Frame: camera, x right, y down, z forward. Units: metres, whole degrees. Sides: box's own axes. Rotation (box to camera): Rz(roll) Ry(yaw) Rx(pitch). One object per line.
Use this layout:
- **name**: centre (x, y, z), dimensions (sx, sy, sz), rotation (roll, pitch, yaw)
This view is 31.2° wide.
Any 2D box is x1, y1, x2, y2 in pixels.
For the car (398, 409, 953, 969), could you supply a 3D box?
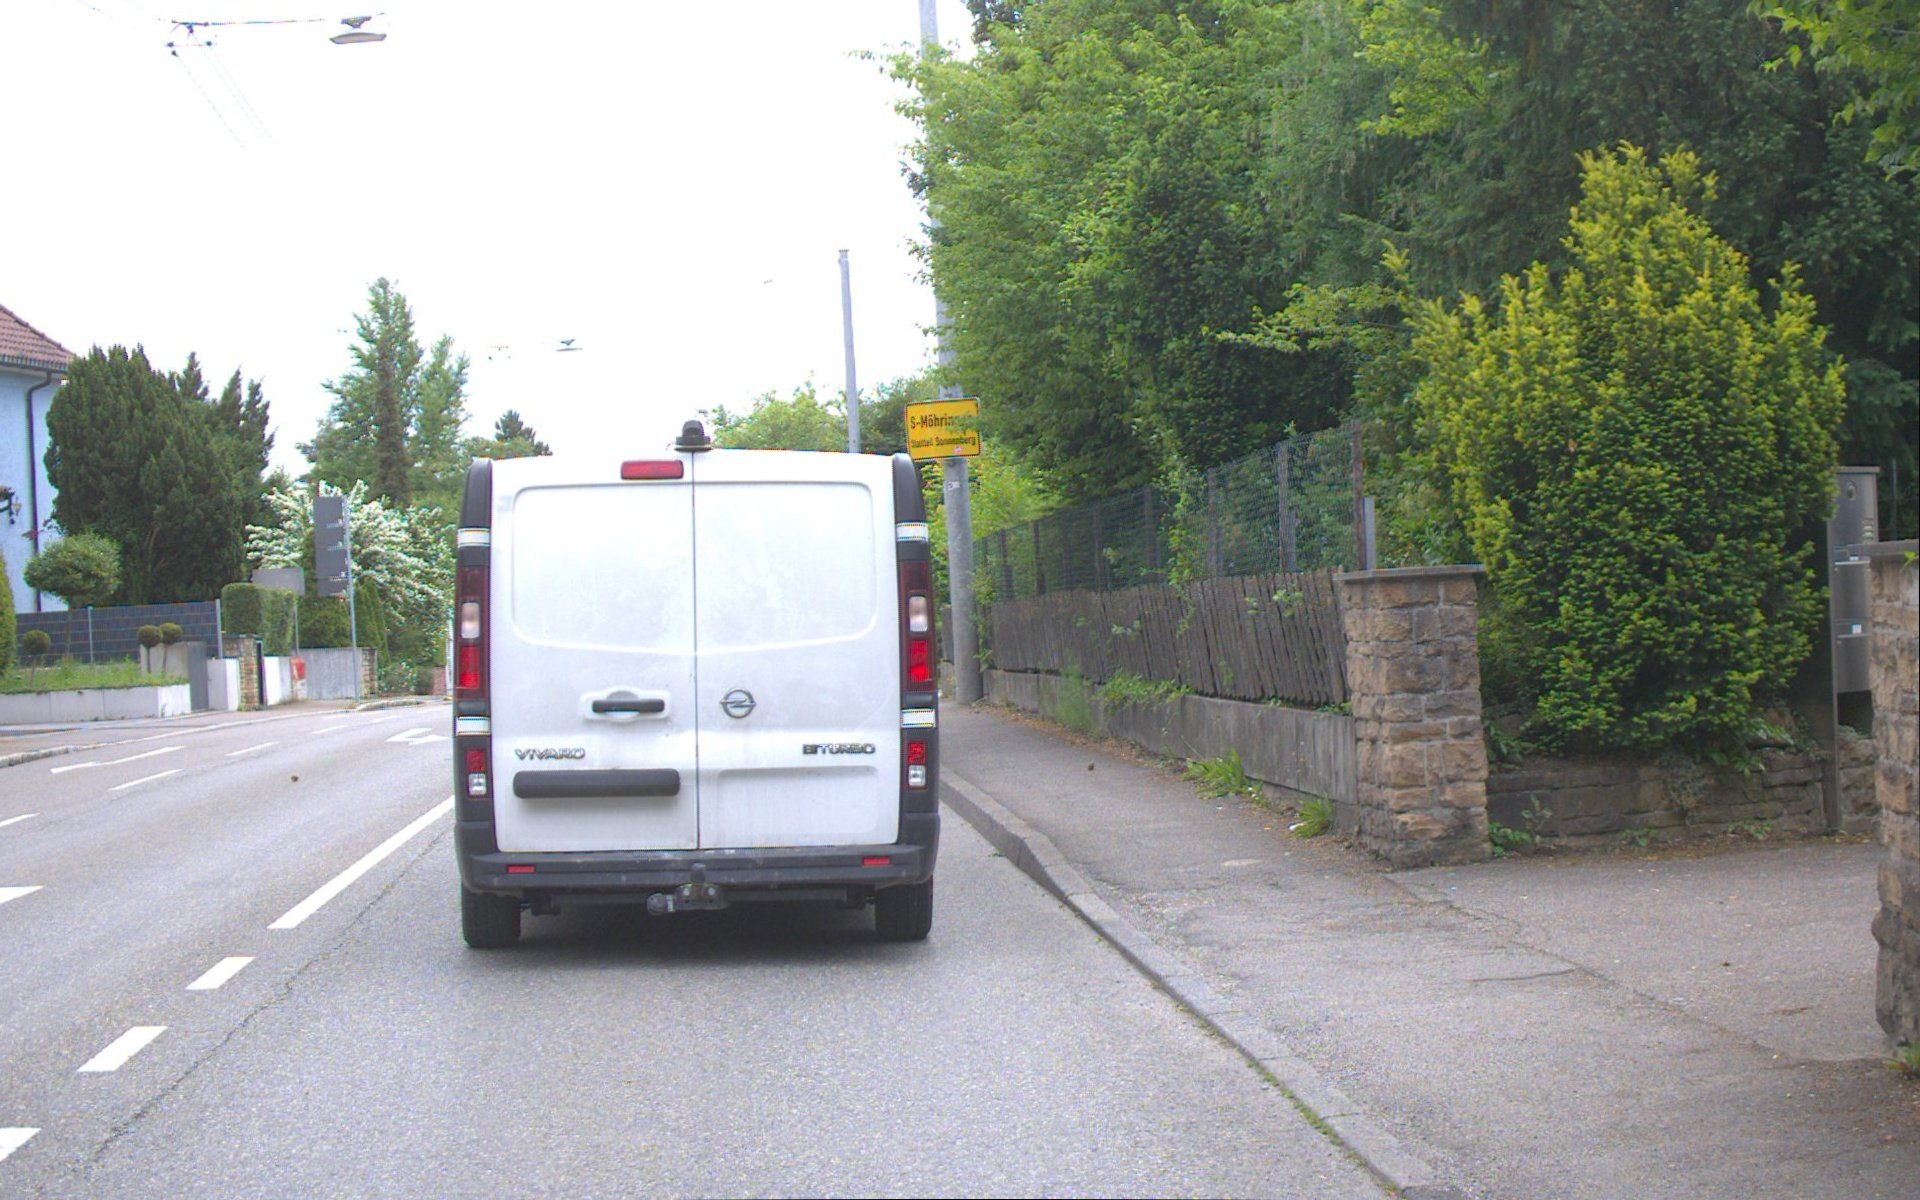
- **car**: centre (-1.205, 0.310, 15.071), dimensions (2.006, 2.031, 5.010), rotation (0, 0, -4)

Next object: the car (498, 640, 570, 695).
- **car**: centre (-12.700, 2.001, 102.615), dimensions (1.809, 1.450, 4.414), rotation (-5, 0, -4)

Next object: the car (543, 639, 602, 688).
- **car**: centre (-13.212, 2.175, 117.398), dimensions (1.678, 1.551, 3.971), rotation (-4, -1, -3)
